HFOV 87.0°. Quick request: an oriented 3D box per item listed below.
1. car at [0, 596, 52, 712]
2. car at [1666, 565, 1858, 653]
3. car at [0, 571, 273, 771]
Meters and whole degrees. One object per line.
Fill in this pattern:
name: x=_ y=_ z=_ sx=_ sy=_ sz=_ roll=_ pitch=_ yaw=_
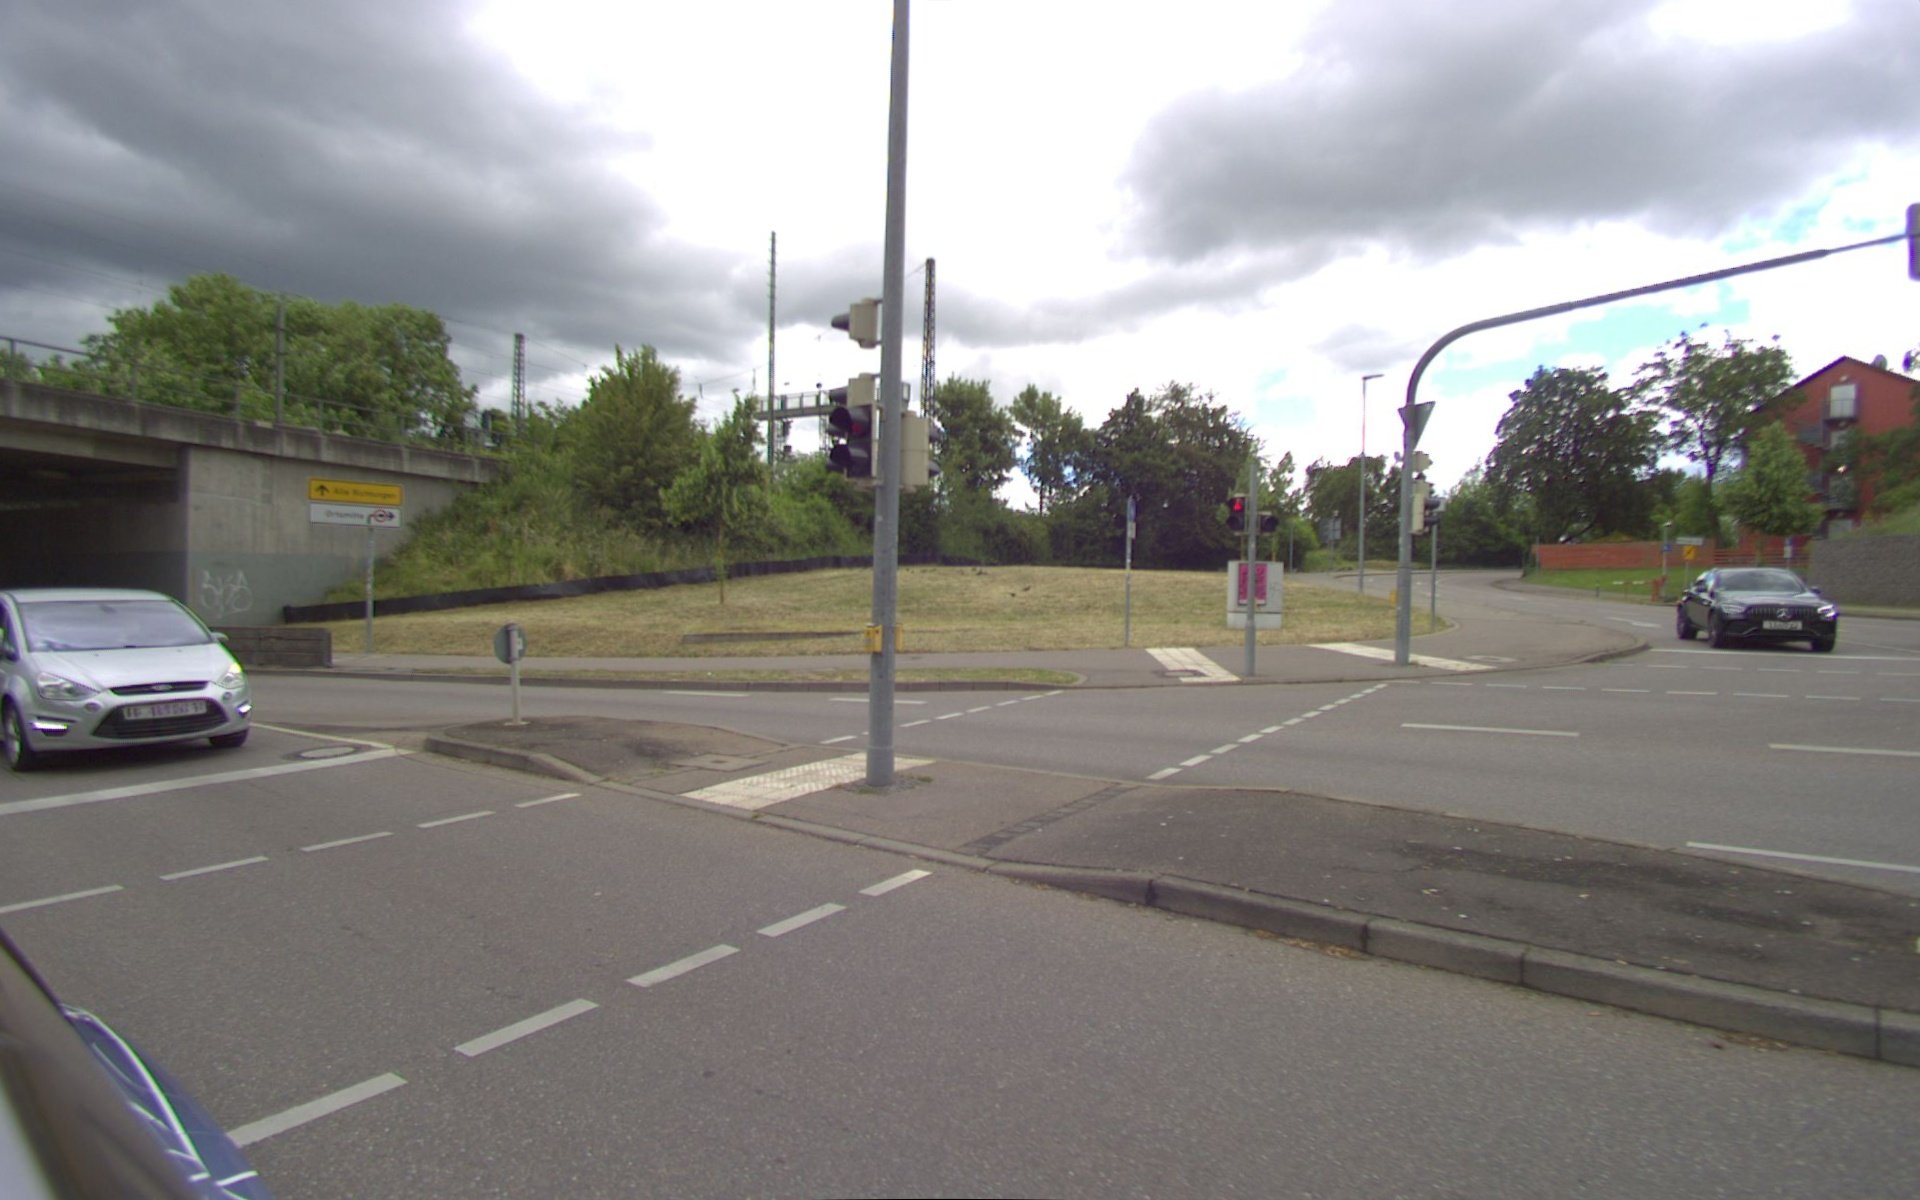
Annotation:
car: x=-14.792 y=0.752 z=14.442 sx=4.243 sy=1.545 sz=1.740 roll=-1 pitch=0 yaw=34
car: x=16.034 y=0.155 z=20.521 sx=2.099 sy=1.563 sz=4.226 roll=-1 pitch=0 yaw=25
car: x=-8.995 y=0.599 z=10.438 sx=4.504 sy=1.651 sz=1.808 roll=-1 pitch=0 yaw=37
